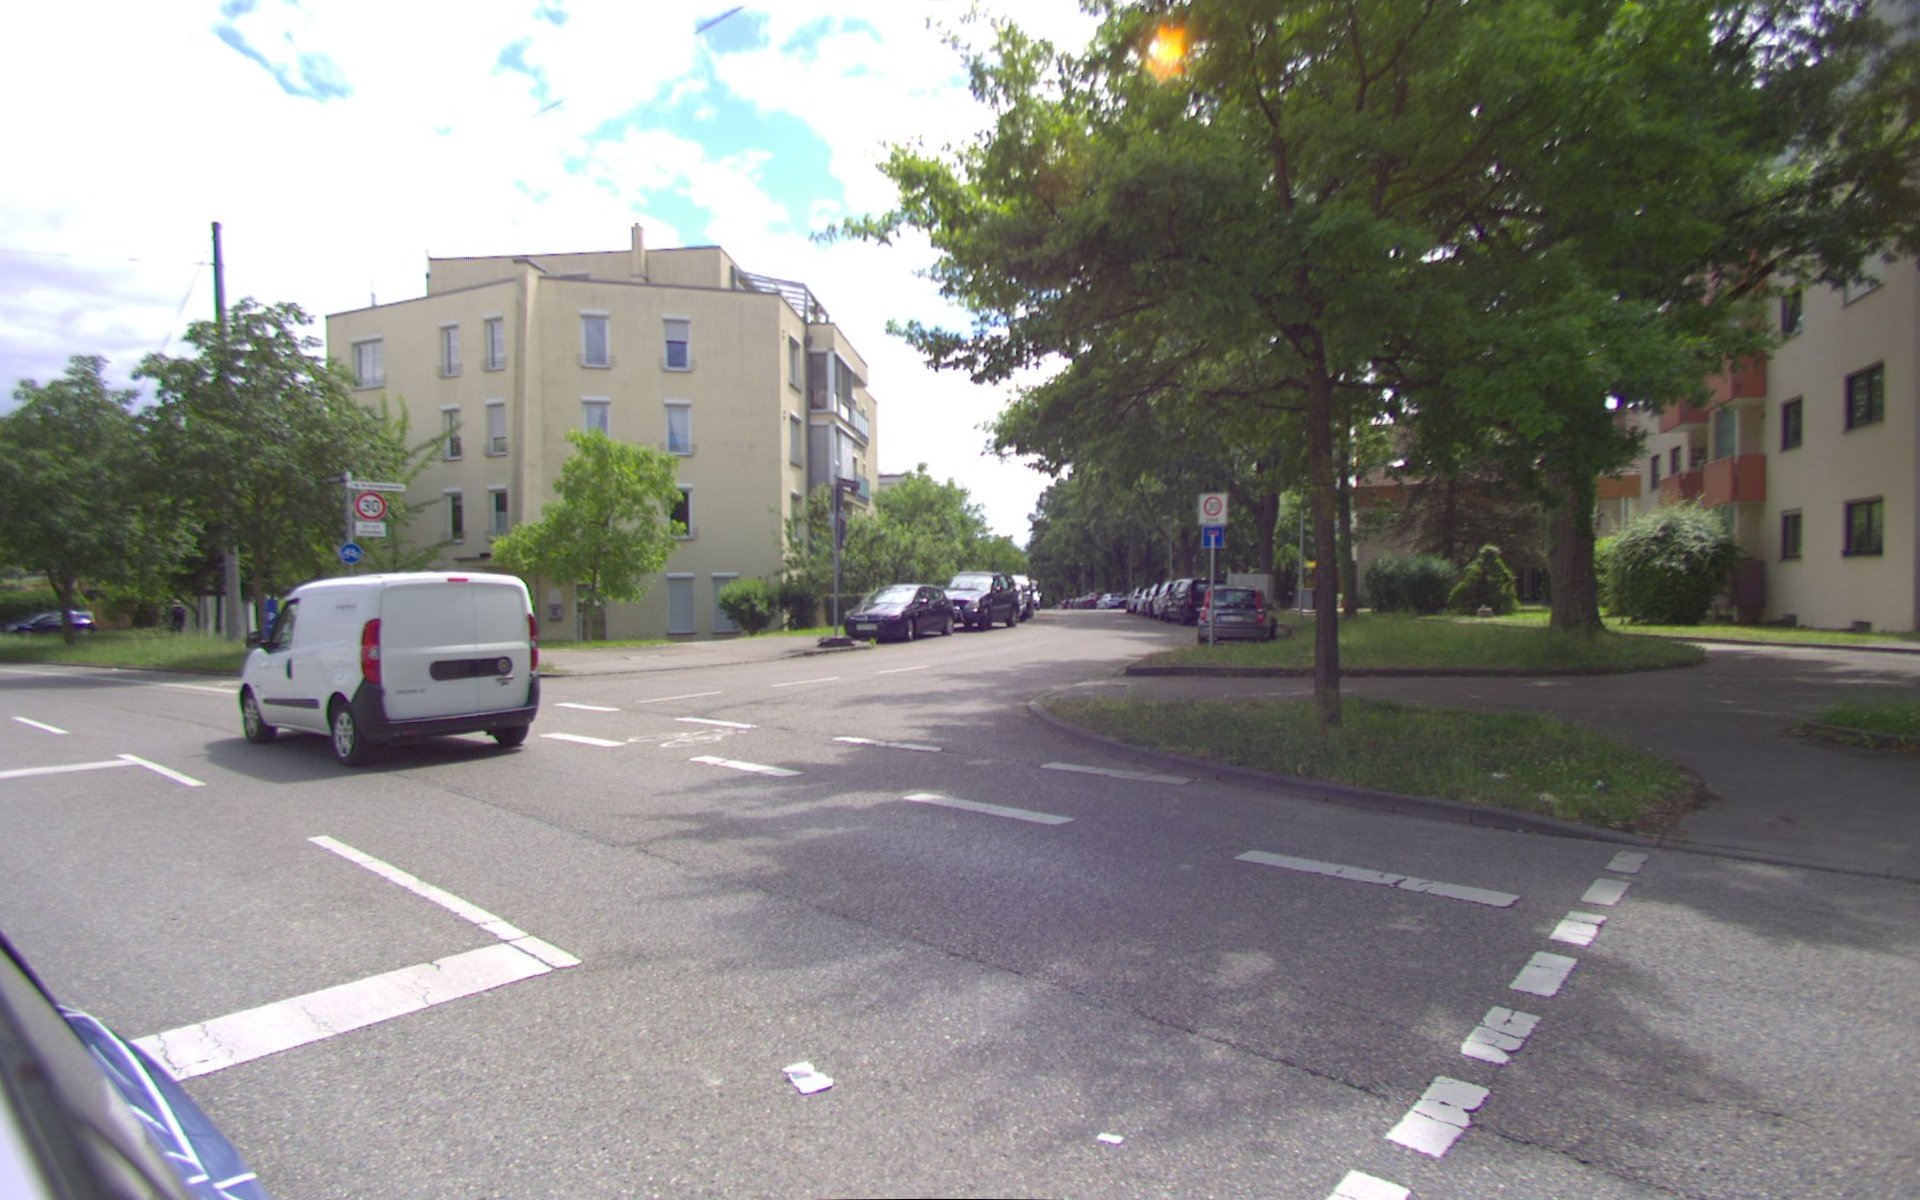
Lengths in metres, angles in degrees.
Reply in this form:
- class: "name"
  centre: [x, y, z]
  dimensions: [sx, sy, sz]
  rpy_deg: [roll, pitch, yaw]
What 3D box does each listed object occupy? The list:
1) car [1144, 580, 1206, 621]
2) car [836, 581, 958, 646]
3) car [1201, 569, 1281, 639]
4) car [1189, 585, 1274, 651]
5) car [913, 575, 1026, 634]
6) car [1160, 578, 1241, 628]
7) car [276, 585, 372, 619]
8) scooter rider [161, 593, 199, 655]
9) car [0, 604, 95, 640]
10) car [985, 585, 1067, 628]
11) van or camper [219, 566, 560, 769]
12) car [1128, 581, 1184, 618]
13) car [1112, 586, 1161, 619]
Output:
- class: "car"
  centre: [9.635, 0.017, 45.711]
  dimensions: [1.916, 1.716, 4.274]
  rpy_deg: [-2, 1, 1]
- class: "car"
  centre: [-1.594, 0.301, 27.191]
  dimensions: [1.725, 1.408, 4.125]
  rpy_deg: [-1, 3, 21]
- class: "car"
  centre: [8.124, 0.158, 29.051]
  dimensions: [1.832, 1.858, 3.972]
  rpy_deg: [-1, -2, 21]
- class: "car"
  centre: [6.766, 0.392, 25.005]
  dimensions: [1.683, 1.463, 3.974]
  rpy_deg: [-1, 0, 20]
- class: "car"
  centre: [0.411, 0.073, 32.126]
  dimensions: [2.087, 1.615, 4.760]
  rpy_deg: [1, 3, 21]
- class: "car"
  centre: [9.239, 0.087, 39.316]
  dimensions: [2.097, 1.807, 4.417]
  rpy_deg: [-2, 1, 1]
- class: "car"
  centre: [-29.507, 0.116, 47.072]
  dimensions: [1.770, 1.431, 3.995]
  rpy_deg: [-2, -1, 4]
- class: "scooter rider"
  centre: [-26.453, 0.793, 34.328]
  dimensions: [0.792, 2.028, 0.671]
  rpy_deg: [0, 3, 33]
- class: "car"
  centre: [-48.954, 1.151, 53.943]
  dimensions: [1.711, 1.694, 3.939]
  rpy_deg: [0, 1, 29]
- class: "car"
  centre: [2.579, 0.207, 38.667]
  dimensions: [1.961, 1.342, 3.972]
  rpy_deg: [-1, 3, 22]
- class: "van or camper"
  centre: [-6.337, 0.601, 11.020]
  dimensions: [4.378, 1.789, 1.842]
  rpy_deg: [-1, 1, 41]
- class: "car"
  centre: [9.733, -0.026, 50.556]
  dimensions: [1.968, 1.716, 4.274]
  rpy_deg: [-2, 1, 1]
- class: "car"
  centre: [9.718, 0.110, 55.956]
  dimensions: [1.968, 1.716, 4.274]
  rpy_deg: [-2, 1, 1]
